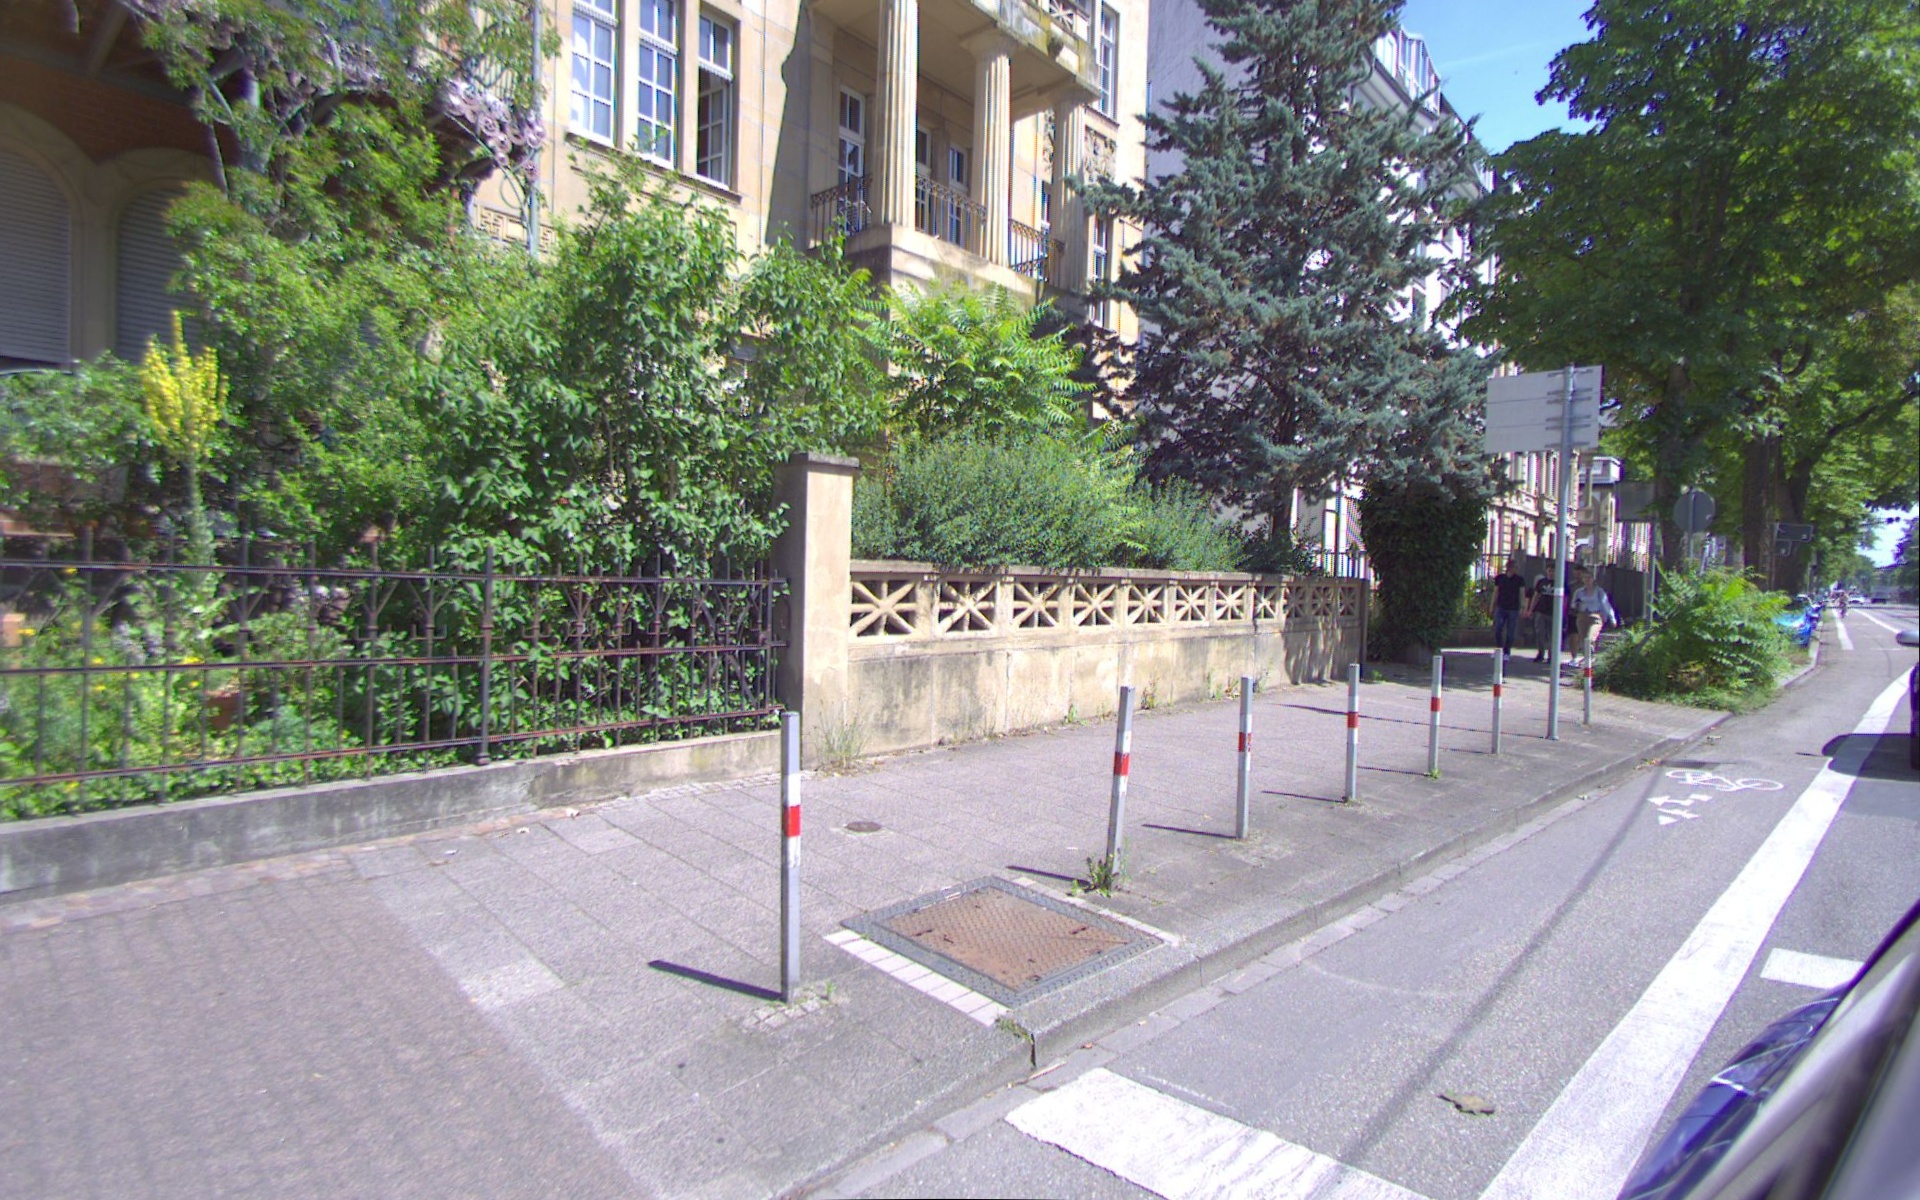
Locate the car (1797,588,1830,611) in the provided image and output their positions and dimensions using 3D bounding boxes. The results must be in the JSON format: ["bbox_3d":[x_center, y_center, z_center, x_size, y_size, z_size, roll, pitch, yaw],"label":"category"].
[{"bbox_3d":[60.480,-0.050,71.671,1.621,1.420,3.766,6,4,41],"label":"car"}]

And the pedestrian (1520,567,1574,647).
[{"bbox_3d":[12.771,0.140,22.002,0.855,1.666,0.825,3,2,39],"label":"pedestrian"}]

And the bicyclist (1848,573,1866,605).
[{"bbox_3d":[58.789,-0.737,66.329,0.769,2.038,0.797,2,1,38],"label":"bicyclist"}]

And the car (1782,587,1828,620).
[{"bbox_3d":[46.349,0.186,55.495,1.729,1.635,4.023,5,4,41],"label":"car"}]

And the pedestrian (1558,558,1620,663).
[{"bbox_3d":[11.165,0.168,17.951,0.705,1.798,0.932,3,2,44],"label":"pedestrian"}]

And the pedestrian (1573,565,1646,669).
[{"bbox_3d":[10.859,0.267,16.924,0.957,1.671,0.767,0,2,-43],"label":"pedestrian"}]

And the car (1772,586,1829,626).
[{"bbox_3d":[34.166,0.222,41.120,1.689,1.471,3.423,3,2,40],"label":"car"}]

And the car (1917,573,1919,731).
[{"bbox_3d":[9.906,0.565,9.108,1.747,1.672,4.232,1,1,42],"label":"car"}]

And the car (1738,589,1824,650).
[{"bbox_3d":[22.149,0.464,27.280,1.676,1.461,3.666,3,2,40],"label":"car"}]

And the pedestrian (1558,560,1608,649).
[{"bbox_3d":[13.264,0.082,21.527,0.684,1.819,1.068,3,2,41],"label":"pedestrian"}]

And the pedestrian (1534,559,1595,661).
[{"bbox_3d":[10.970,0.160,18.359,0.786,1.783,1.038,2,2,37],"label":"pedestrian"}]

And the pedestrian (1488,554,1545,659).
[{"bbox_3d":[10.037,0.103,18.248,0.660,1.834,0.962,3,2,41],"label":"pedestrian"}]

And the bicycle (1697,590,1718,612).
[{"bbox_3d":[37.150,0.052,50.295,0.607,1.084,1.949,3,2,43],"label":"bicycle"}]

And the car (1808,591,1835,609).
[{"bbox_3d":[73.264,-0.017,86.021,1.621,1.420,3.940,6,4,41],"label":"car"}]

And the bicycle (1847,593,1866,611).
[{"bbox_3d":[58.944,0.142,66.532,0.809,1.109,2.143,1,2,39],"label":"bicycle"}]
